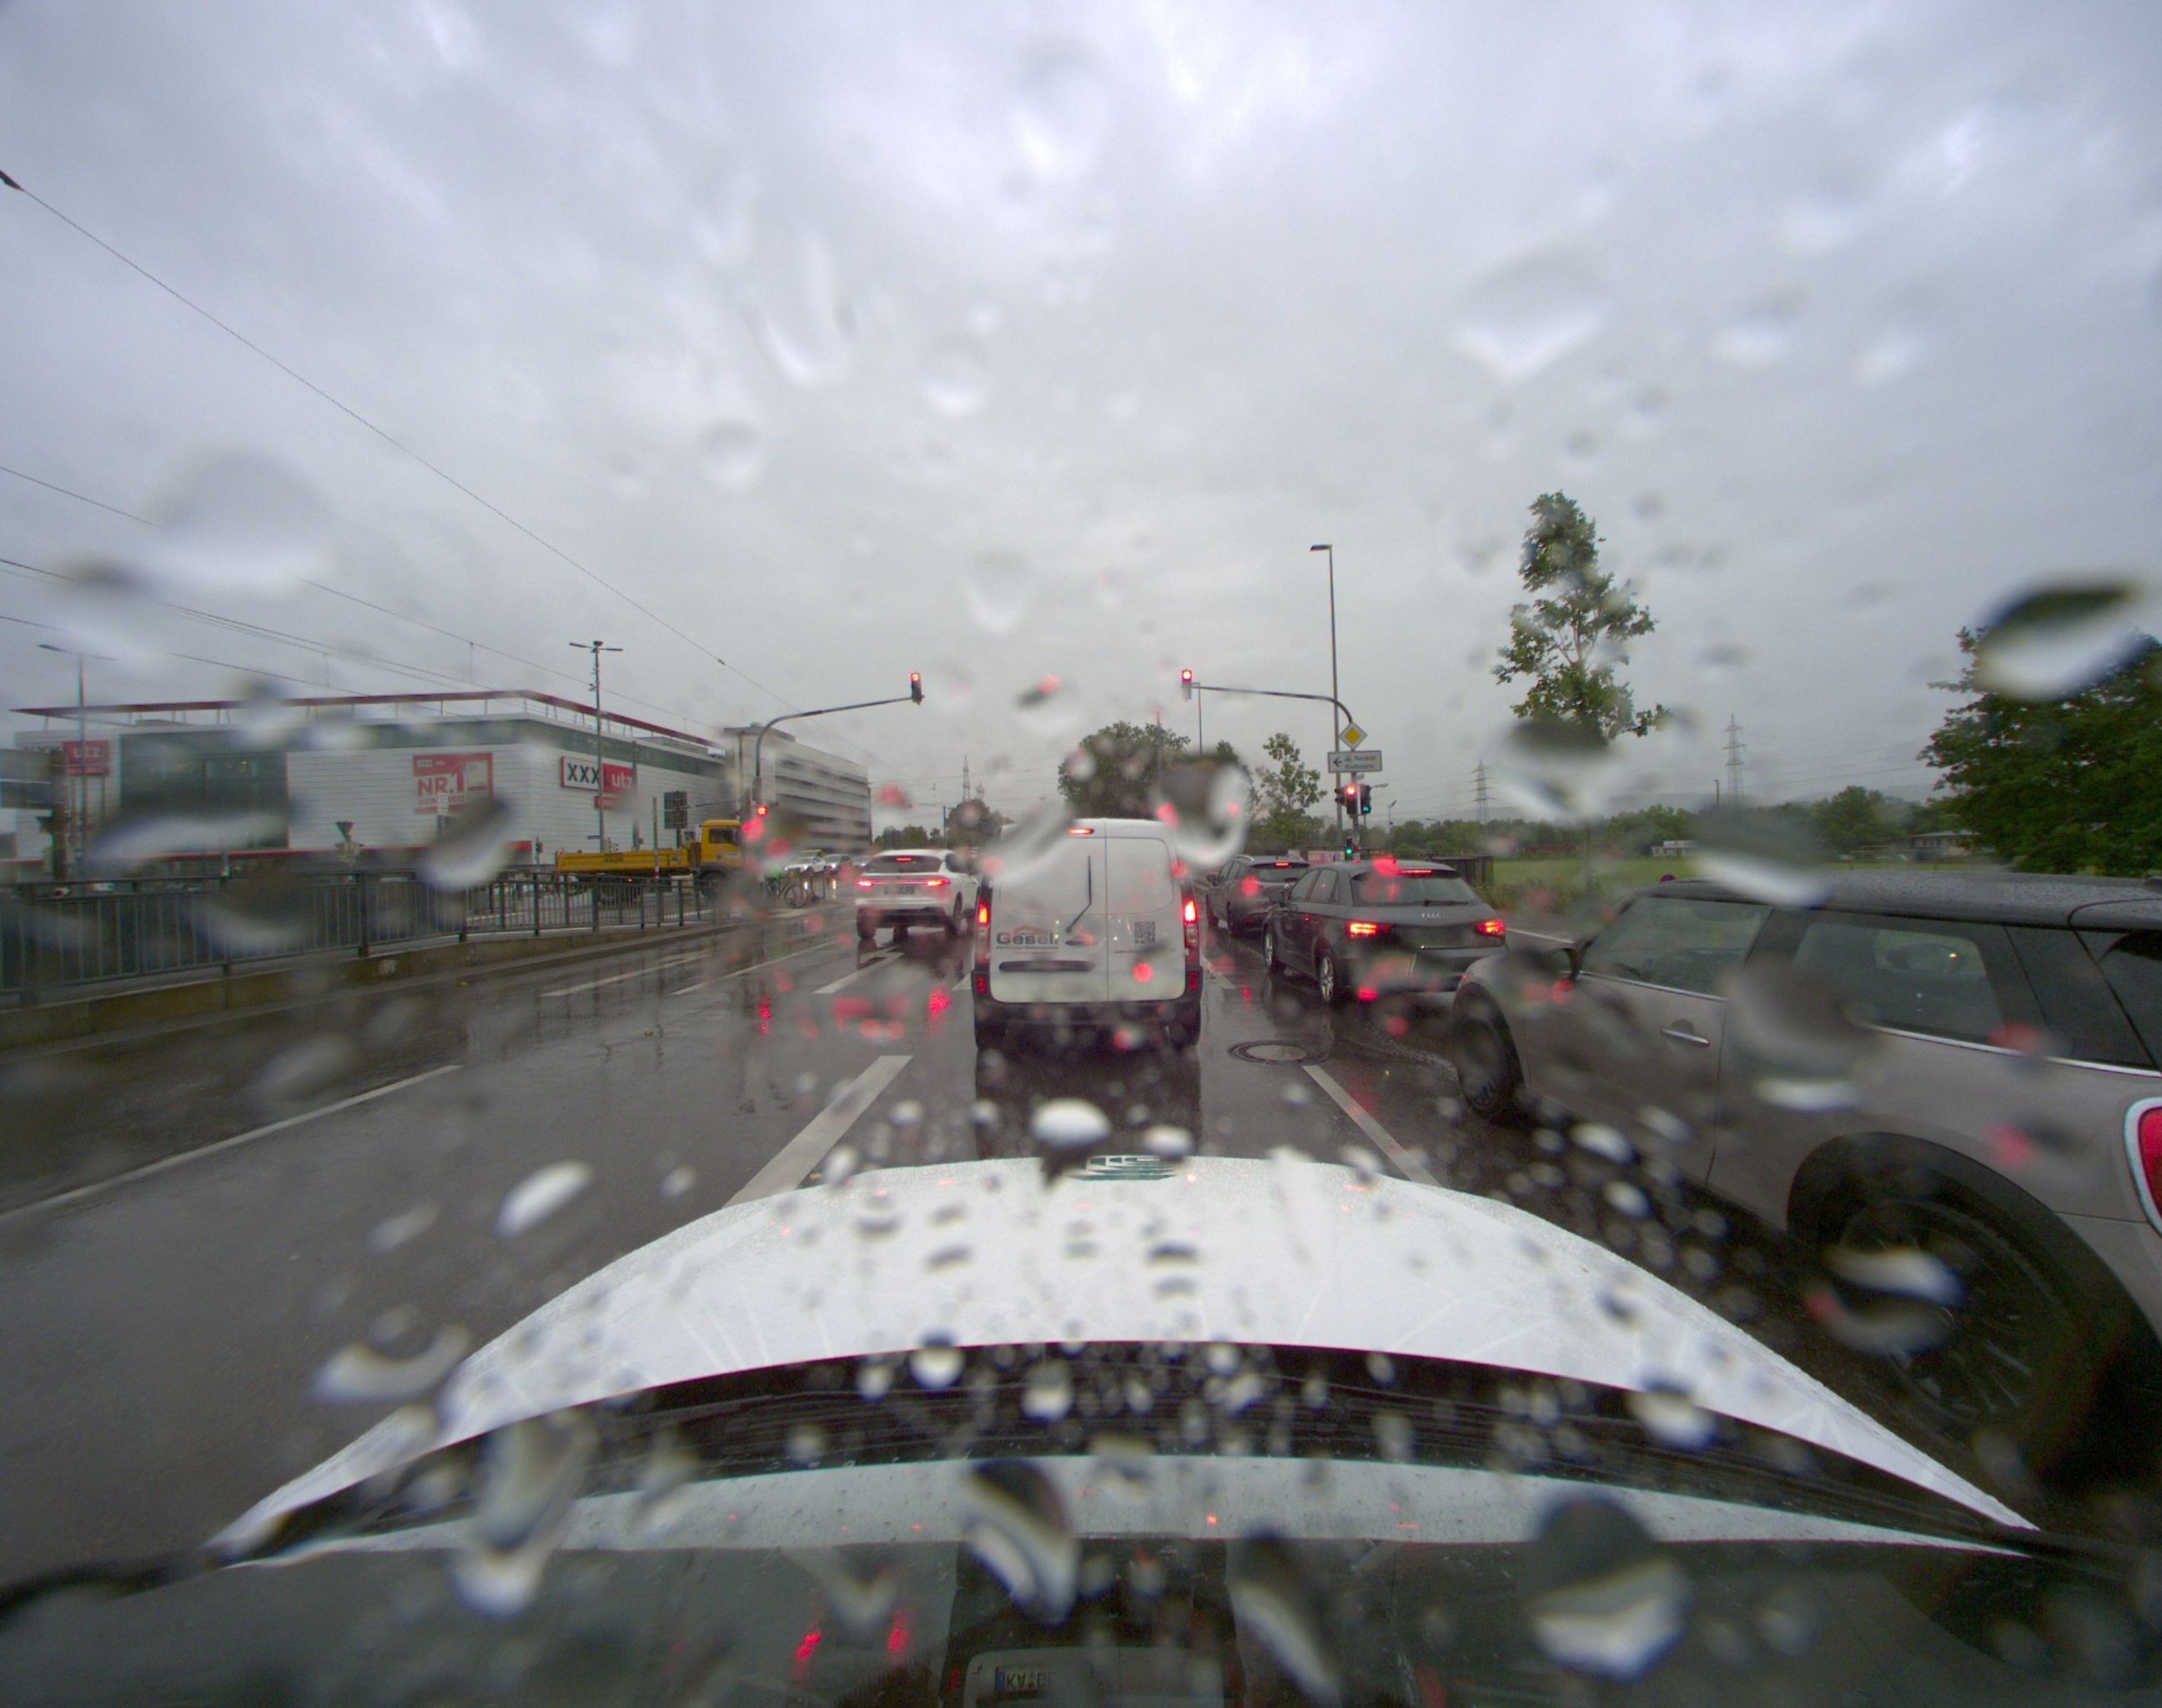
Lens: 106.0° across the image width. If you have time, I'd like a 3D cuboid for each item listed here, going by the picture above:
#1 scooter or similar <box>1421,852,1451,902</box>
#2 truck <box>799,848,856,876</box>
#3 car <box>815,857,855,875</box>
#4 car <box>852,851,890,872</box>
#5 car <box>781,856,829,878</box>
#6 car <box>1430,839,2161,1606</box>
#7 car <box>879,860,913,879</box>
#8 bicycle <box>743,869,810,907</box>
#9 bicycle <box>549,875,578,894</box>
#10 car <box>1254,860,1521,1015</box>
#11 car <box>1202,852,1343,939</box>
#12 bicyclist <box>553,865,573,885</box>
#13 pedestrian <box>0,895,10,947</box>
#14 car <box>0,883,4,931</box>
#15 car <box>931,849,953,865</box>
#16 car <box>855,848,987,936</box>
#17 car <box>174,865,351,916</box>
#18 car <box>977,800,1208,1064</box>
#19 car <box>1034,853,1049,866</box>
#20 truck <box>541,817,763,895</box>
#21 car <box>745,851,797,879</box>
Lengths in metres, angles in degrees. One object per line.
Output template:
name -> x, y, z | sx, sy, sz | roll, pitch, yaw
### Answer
scooter or similar -> 8.458, 0.532, 19.412 | 0.244, 1.158, 1.187 | 0, -1, 3
truck -> -22.102, 0.682, 71.393 | 2.342, 2.279, 7.637 | 0, 0, 2
car -> -19.221, 0.909, 63.746 | 1.579, 1.336, 3.837 | -1, -1, 6
car -> -18.264, 0.642, 70.975 | 1.883, 1.699, 4.006 | 0, -1, 6
car -> -19.506, 0.931, 57.762 | 1.689, 1.492, 3.884 | -1, -1, 7
car -> 2.999, 0.718, 3.243 | 1.707, 1.508, 3.624 | 0, 0, 1
car -> -17.653, 1.467, 78.028 | 1.919, 1.827, 4.007 | 0, -1, 6
bicycle -> -8.886, 0.998, 23.787 | 1.745, 1.034, 0.414 | 2, -1, 0
bicycle -> -28.752, 1.669, 45.250 | 0.448, 0.987, 1.710 | 0, -1, 3
car -> 3.079, 0.745, 8.974 | 1.623, 1.344, 3.624 | 0, 0, 1
car -> 3.487, 0.696, 15.558 | 1.853, 1.428, 3.808 | 0, 0, 1
bicyclist -> -28.764, 1.168, 45.221 | 0.681, 1.134, 0.647 | 0, -1, 3
pedestrian -> -32.536, 2.000, 24.084 | 0.561, 1.537, 0.872 | 0, -1, 1
car -> -47.549, 2.244, 33.337 | 4.298, 2.014, 2.001 | 0, -1, 1
car -> -17.851, 0.407, 104.701 | 1.985, 2.014, 4.004 | 0, -1, 3
car -> -3.045, 0.650, 16.371 | 1.723, 1.535, 4.298 | 0, 0, 1
car -> -28.392, 1.229, 28.385 | 4.070, 1.660, 1.613 | 0, -1, -13
car -> 0.141, 0.545, 7.598 | 1.560, 1.788, 4.002 | -1, 0, 2
car -> -4.866, 0.703, 100.013 | 1.613, 1.503, 3.705 | 0, -1, -8
truck -> -16.222, 0.052, 31.385 | 7.138, 2.816, 2.626 | -1, -1, -17
car -> -23.060, 0.778, 60.708 | 1.983, 2.014, 4.007 | 0, -1, 6
